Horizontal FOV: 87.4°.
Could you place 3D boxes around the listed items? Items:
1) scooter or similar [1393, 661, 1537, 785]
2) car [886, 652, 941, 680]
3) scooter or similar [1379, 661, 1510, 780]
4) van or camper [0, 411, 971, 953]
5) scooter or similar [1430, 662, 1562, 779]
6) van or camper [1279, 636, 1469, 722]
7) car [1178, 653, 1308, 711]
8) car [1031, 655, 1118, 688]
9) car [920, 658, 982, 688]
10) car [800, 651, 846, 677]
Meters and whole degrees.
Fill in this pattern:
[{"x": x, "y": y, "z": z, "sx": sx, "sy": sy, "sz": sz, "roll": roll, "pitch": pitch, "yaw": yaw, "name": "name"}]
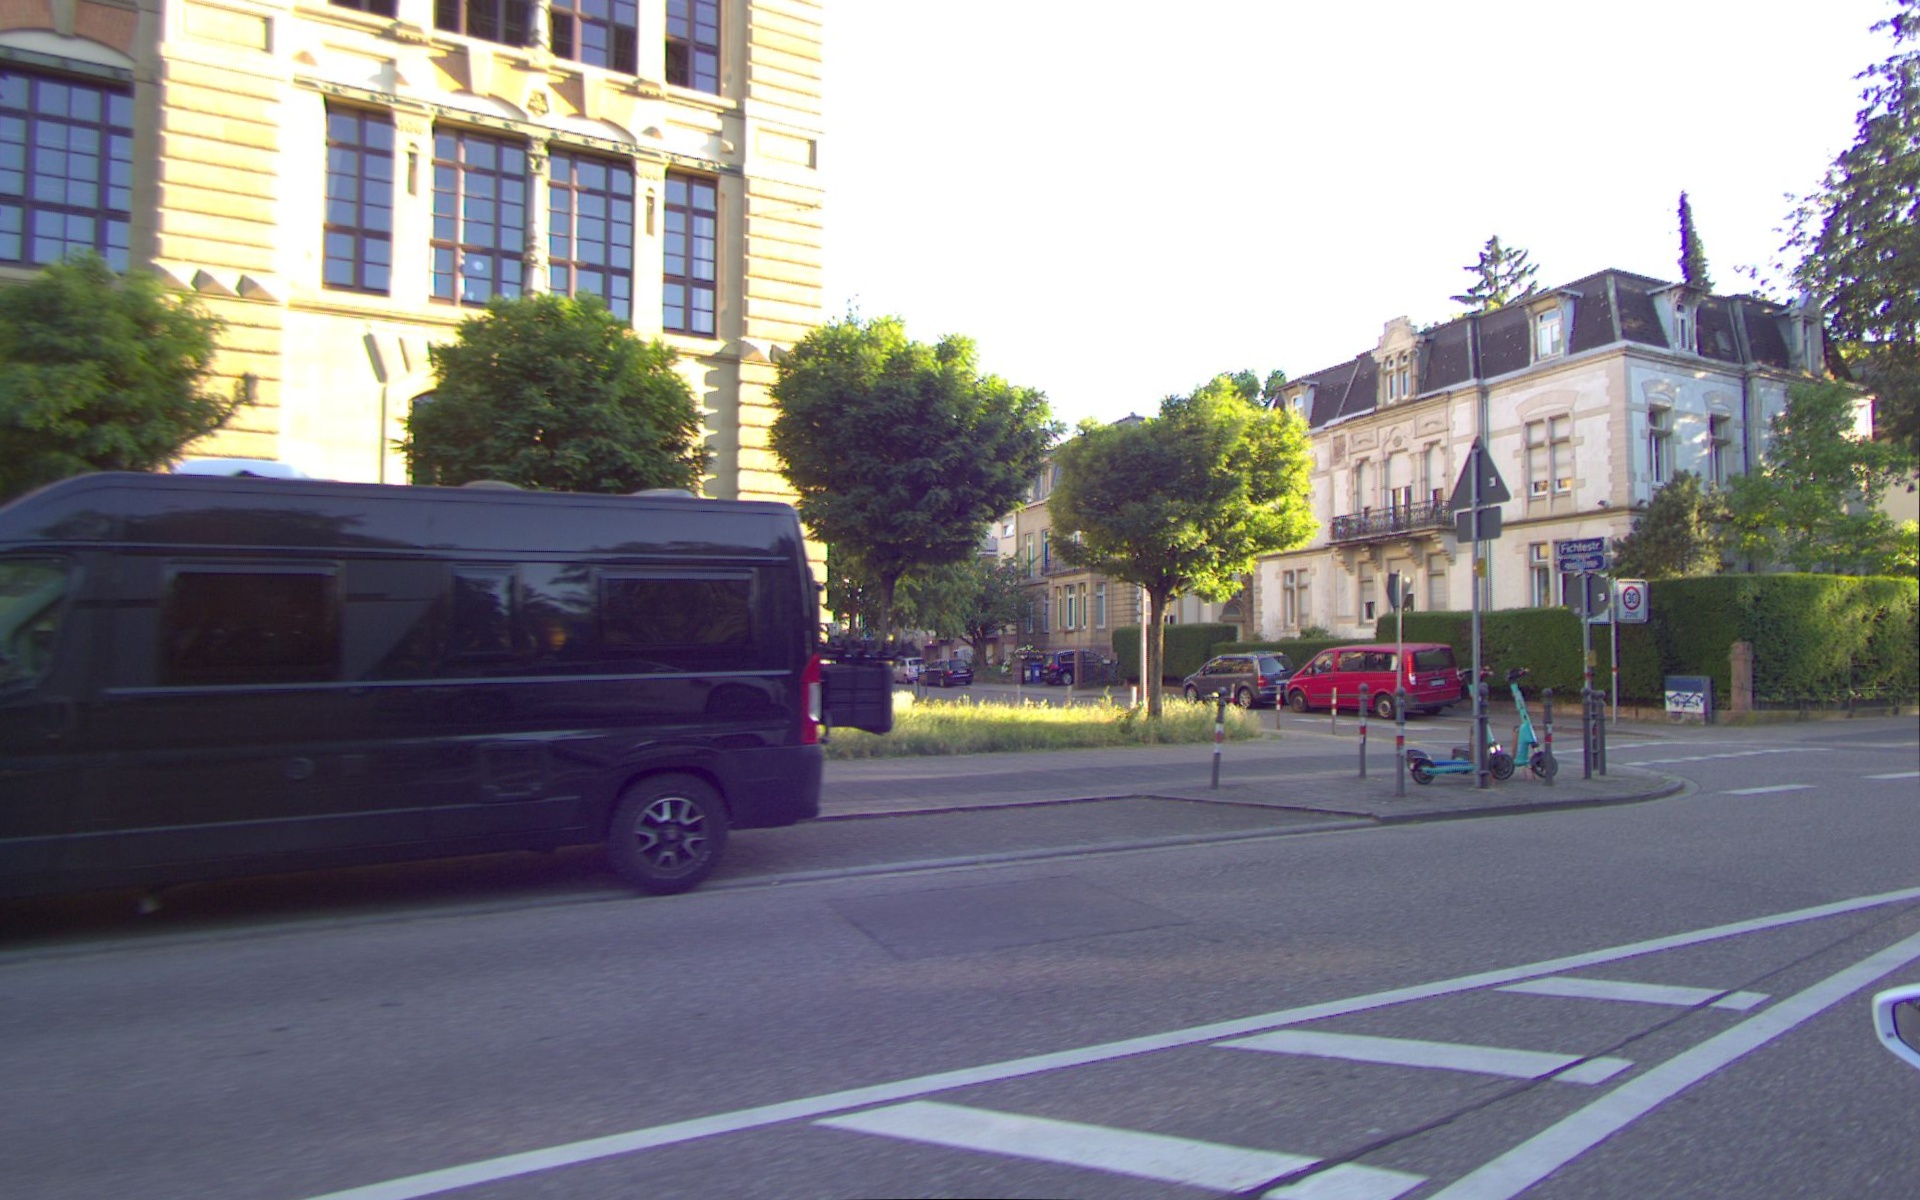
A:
[{"x": 5.462, "y": 1.317, "z": 10.923, "sx": 1.317, "sy": 1.291, "sz": 0.432, "roll": 0, "pitch": -3, "yaw": 11, "name": "scooter or similar"}, {"x": -2.823, "y": 3.933, "z": 60.098, "sx": 1.973, "sy": 1.599, "sz": 3.976, "roll": 2, "pitch": -4, "yaw": -25, "name": "car"}, {"x": 5.578, "y": 1.353, "z": 11.582, "sx": 1.320, "sy": 1.291, "sz": 0.431, "roll": -1, "pitch": -3, "yaw": 31, "name": "scooter or similar"}, {"x": -3.557, "y": 0.463, "z": 6.503, "sx": 6.984, "sy": 2.578, "sz": 2.223, "roll": 2, "pitch": -2, "yaw": -25, "name": "van or camper"}, {"x": 6.246, "y": 1.375, "z": 11.726, "sx": 1.320, "sy": 1.291, "sz": 0.431, "roll": -1, "pitch": -3, "yaw": 31, "name": "scooter or similar"}, {"x": 11.190, "y": 2.101, "z": 27.569, "sx": 1.971, "sy": 2.012, "sz": 4.761, "roll": -3, "pitch": -2, "yaw": -22, "name": "van or camper"}, {"x": 8.974, "y": 2.556, "z": 32.143, "sx": 1.894, "sy": 1.695, "sz": 3.976, "roll": 1, "pitch": -3, "yaw": -25, "name": "car"}, {"x": 5.898, "y": 3.636, "z": 51.678, "sx": 3.943, "sy": 1.483, "sz": 1.990, "roll": -1, "pitch": -2, "yaw": -23, "name": "car"}, {"x": -0.530, "y": 3.936, "z": 54.616, "sx": 1.973, "sy": 1.599, "sz": 3.976, "roll": 2, "pitch": -4, "yaw": -25, "name": "car"}, {"x": -8.664, "y": 4.012, "z": 63.300, "sx": 1.971, "sy": 1.594, "sz": 3.979, "roll": 1, "pitch": -3, "yaw": -23, "name": "car"}]
